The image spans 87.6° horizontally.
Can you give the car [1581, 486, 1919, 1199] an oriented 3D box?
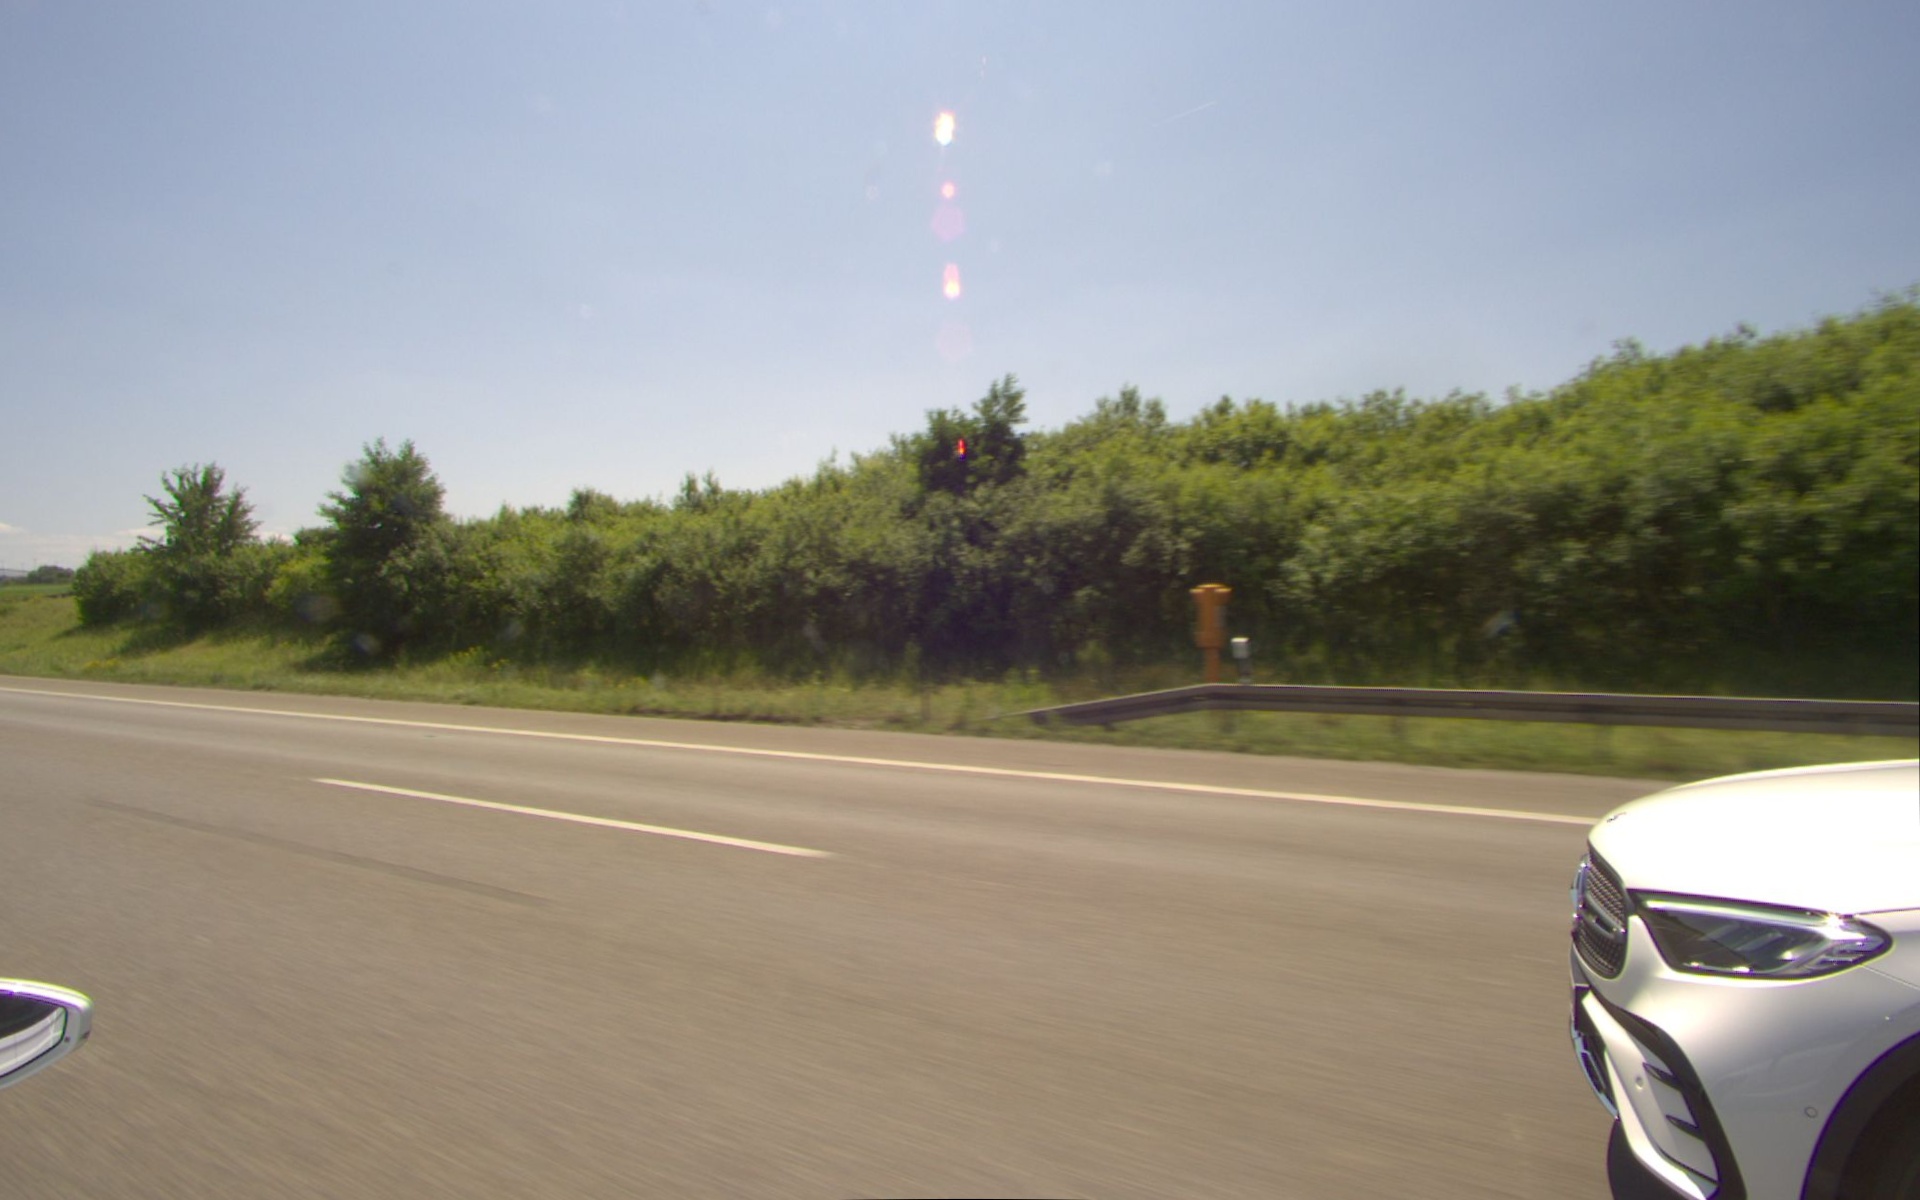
[{"bbox_3d":[3.684,0.647,1.580,4.569,1.677,1.902,-1,-2,32],"label":"car"}]
